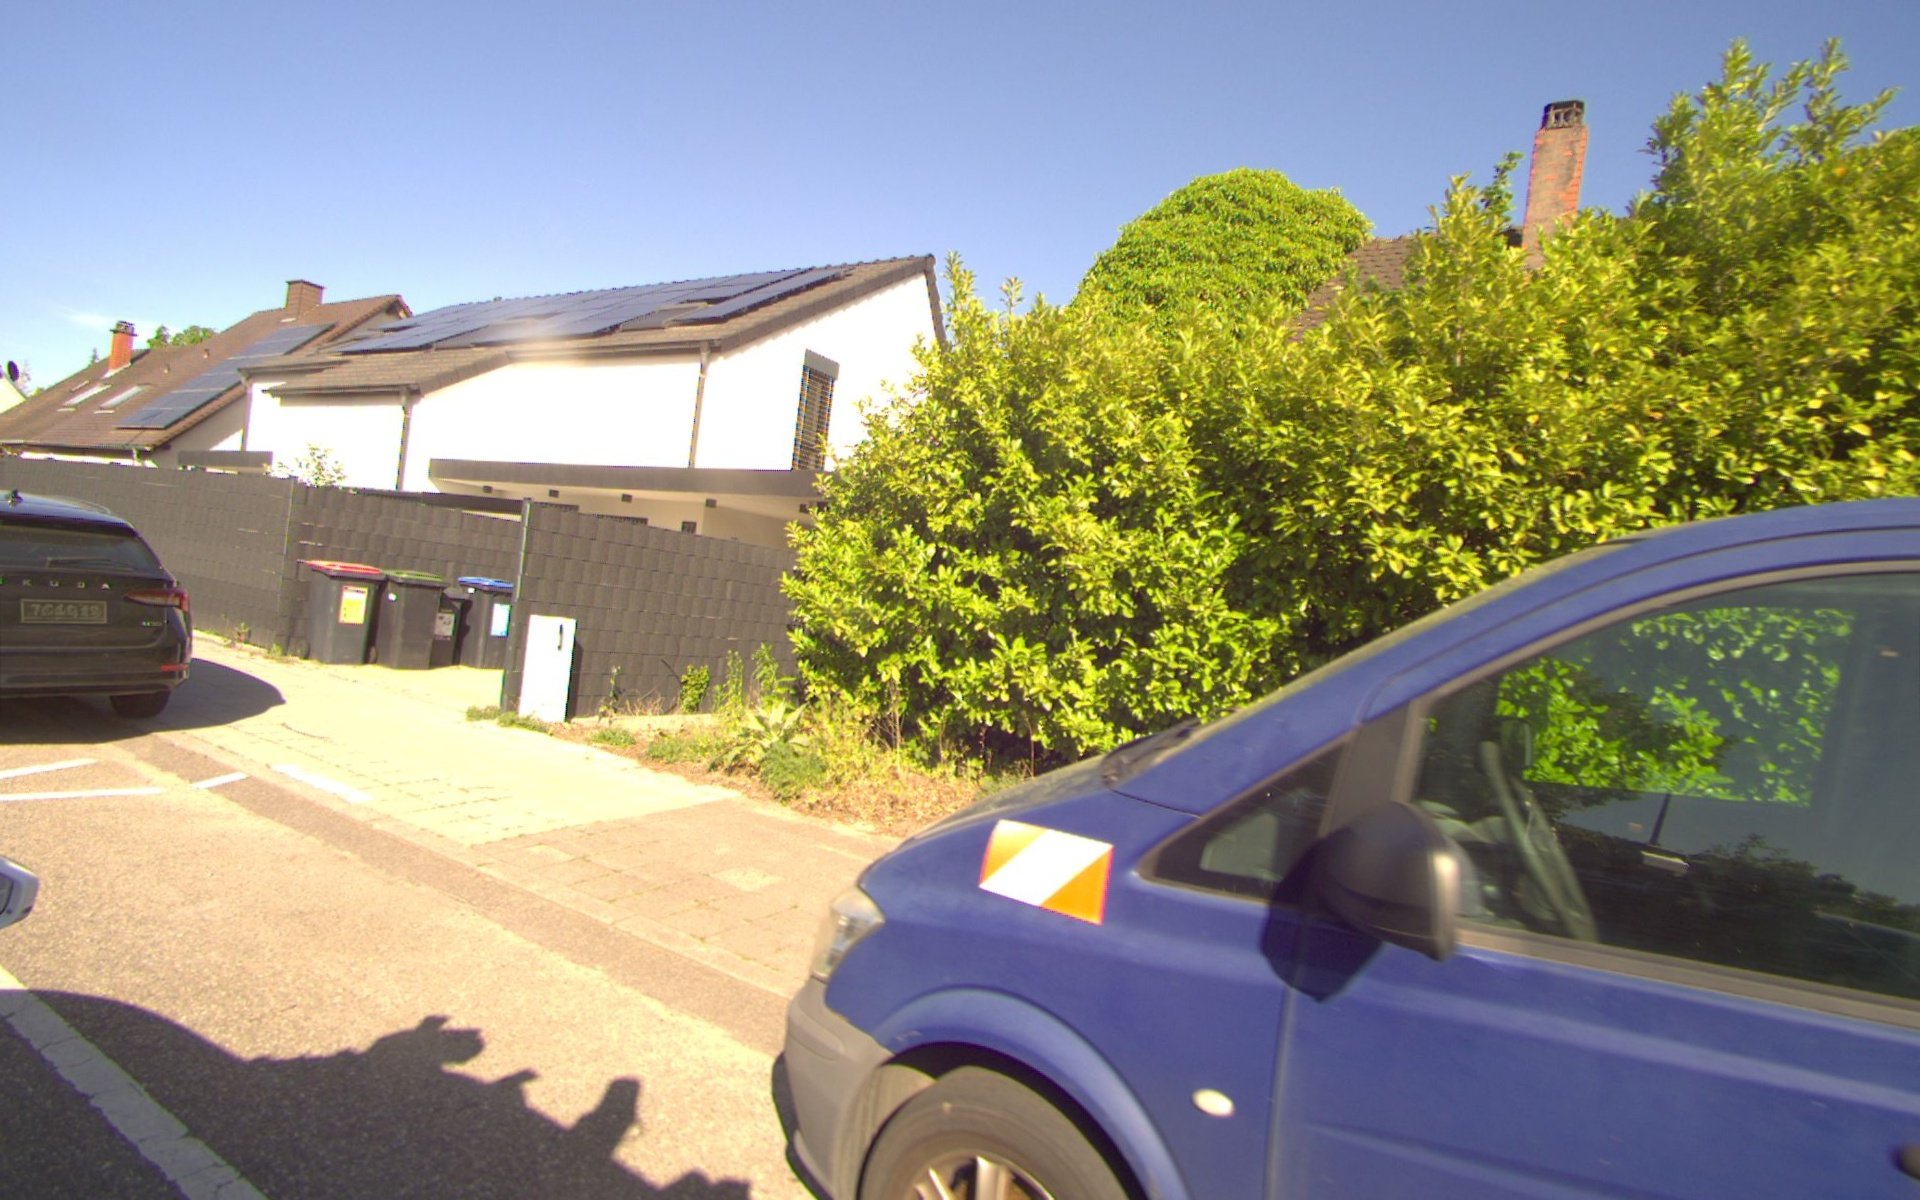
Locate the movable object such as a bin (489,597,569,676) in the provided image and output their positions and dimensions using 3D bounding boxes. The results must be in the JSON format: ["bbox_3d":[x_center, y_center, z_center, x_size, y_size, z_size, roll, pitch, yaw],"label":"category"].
[{"bbox_3d":[-5.496,0.463,12.828,0.693,0.938,0.594,4,0,34],"label":"movable object such as a bin"}]

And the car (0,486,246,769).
[{"bbox_3d":[-7.083,-0.069,6.921,4.909,1.499,1.766,7,1,33],"label":"car"}]

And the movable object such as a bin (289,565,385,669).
[{"bbox_3d":[-6.724,0.183,10.865,0.693,1.053,0.594,4,0,34],"label":"movable object such as a bin"}]

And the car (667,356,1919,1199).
[{"bbox_3d":[1.862,0.784,1.755,4.621,1.931,1.839,6,0,33],"label":"car"}]

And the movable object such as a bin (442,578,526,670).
[{"bbox_3d":[-5.822,0.295,12.306,0.693,1.053,0.594,4,0,34],"label":"movable object such as a bin"}]

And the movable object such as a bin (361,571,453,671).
[{"bbox_3d":[-6.162,0.236,11.212,0.693,1.053,0.594,4,0,34],"label":"movable object such as a bin"}]
